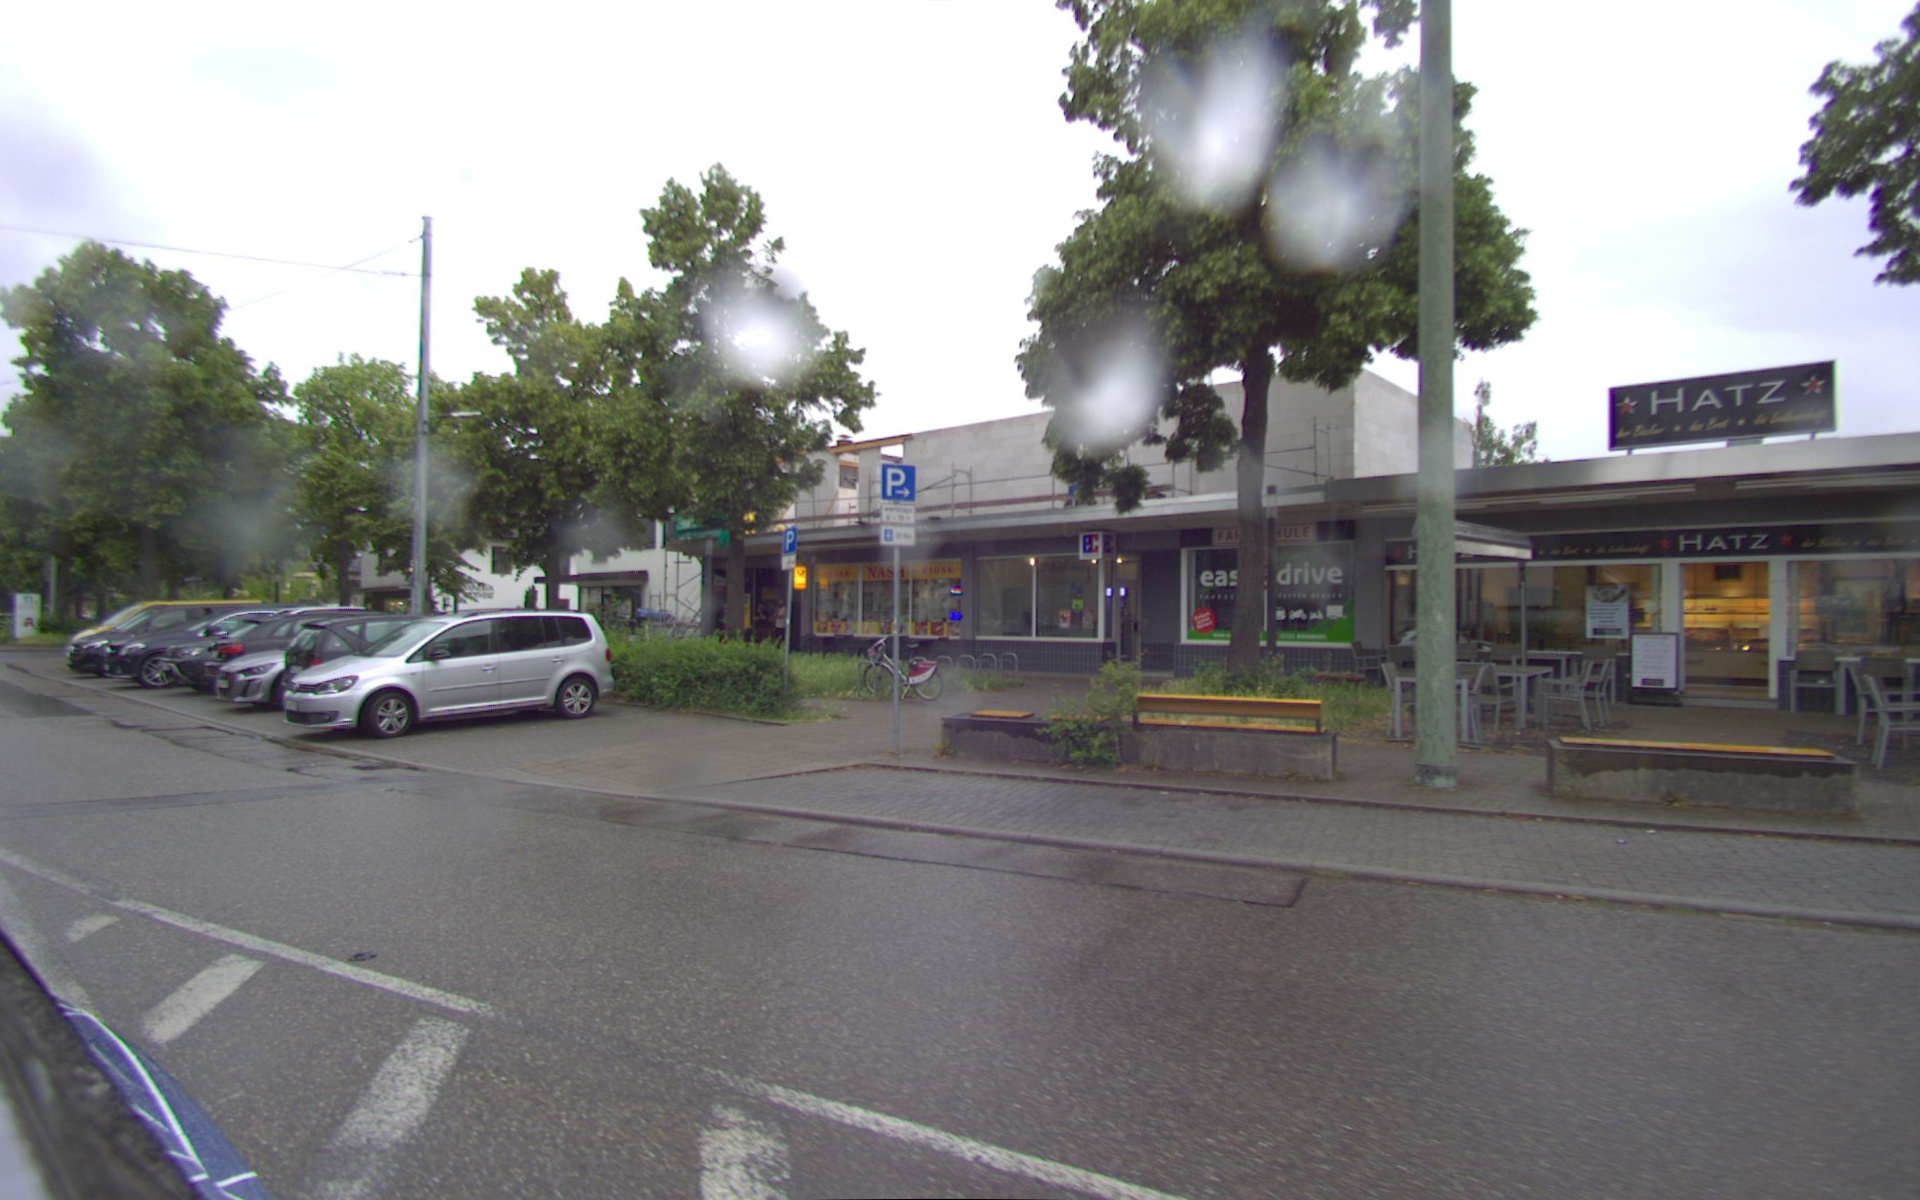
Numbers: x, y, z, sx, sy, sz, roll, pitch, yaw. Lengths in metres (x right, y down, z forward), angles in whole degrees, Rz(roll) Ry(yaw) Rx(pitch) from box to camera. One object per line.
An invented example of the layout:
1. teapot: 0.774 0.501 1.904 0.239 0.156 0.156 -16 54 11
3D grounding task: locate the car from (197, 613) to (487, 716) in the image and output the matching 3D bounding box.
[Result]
1. car: -10.981 1.051 18.190 1.998 1.583 4.037 -1 -1 39

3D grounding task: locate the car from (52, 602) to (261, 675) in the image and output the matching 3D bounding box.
1. car: -23.219 1.041 29.396 1.897 1.958 4.489 -1 -1 39

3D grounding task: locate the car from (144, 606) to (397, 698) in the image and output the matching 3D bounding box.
1. car: -14.345 0.998 21.233 1.897 1.722 4.037 -1 -1 39

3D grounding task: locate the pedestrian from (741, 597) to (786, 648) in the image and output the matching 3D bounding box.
1. pedestrian: -6.307 0.705 32.450 1.063 1.596 0.950 2 -1 -39

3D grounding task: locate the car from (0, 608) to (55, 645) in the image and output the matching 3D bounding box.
1. car: -51.050 1.401 53.579 1.897 1.958 4.489 -1 -1 39

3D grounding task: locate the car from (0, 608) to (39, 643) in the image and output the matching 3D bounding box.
1. car: -54.779 1.455 56.678 1.897 1.958 4.489 -1 -1 39

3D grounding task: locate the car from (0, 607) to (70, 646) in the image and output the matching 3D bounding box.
1. car: -48.966 1.372 52.115 1.897 1.958 4.489 -1 -1 39

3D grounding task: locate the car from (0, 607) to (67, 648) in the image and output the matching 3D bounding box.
1. car: -47.142 1.342 49.878 1.897 1.958 4.489 -1 -1 39

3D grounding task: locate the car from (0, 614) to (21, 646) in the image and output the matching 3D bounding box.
1. car: -60.242 1.834 61.481 1.897 1.958 4.489 -1 -1 40

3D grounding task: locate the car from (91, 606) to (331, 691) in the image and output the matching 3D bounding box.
1. car: -16.835 1.011 22.892 1.897 1.722 4.037 -1 -1 39

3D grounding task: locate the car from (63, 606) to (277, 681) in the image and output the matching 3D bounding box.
1. car: -21.083 1.087 27.152 1.897 1.823 4.249 -1 -1 39

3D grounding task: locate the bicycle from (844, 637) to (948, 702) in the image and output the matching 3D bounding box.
1. bicycle: -1.121 1.205 17.736 1.740 1.080 0.589 0 -2 24

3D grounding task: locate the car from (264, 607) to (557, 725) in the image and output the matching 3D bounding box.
1. car: -8.945 0.978 16.719 1.792 1.686 3.896 -1 -1 39

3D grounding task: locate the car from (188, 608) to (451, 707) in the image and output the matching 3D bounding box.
1. car: -12.561 1.042 20.046 1.897 1.722 4.037 -1 -1 39

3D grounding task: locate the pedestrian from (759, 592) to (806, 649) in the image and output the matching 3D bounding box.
1. pedestrian: -5.496 0.621 31.316 1.063 1.727 0.950 2 -1 -39

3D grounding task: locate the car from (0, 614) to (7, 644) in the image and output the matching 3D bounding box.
1. car: -64.275 1.898 64.819 1.897 1.958 4.489 -1 -1 39

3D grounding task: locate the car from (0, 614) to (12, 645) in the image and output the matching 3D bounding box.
1. car: -62.289 1.861 63.097 1.897 1.958 4.489 -1 -1 39

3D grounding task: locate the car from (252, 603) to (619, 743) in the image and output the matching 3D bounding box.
1. car: -7.391 0.913 14.614 1.998 1.686 4.281 -1 -1 39
